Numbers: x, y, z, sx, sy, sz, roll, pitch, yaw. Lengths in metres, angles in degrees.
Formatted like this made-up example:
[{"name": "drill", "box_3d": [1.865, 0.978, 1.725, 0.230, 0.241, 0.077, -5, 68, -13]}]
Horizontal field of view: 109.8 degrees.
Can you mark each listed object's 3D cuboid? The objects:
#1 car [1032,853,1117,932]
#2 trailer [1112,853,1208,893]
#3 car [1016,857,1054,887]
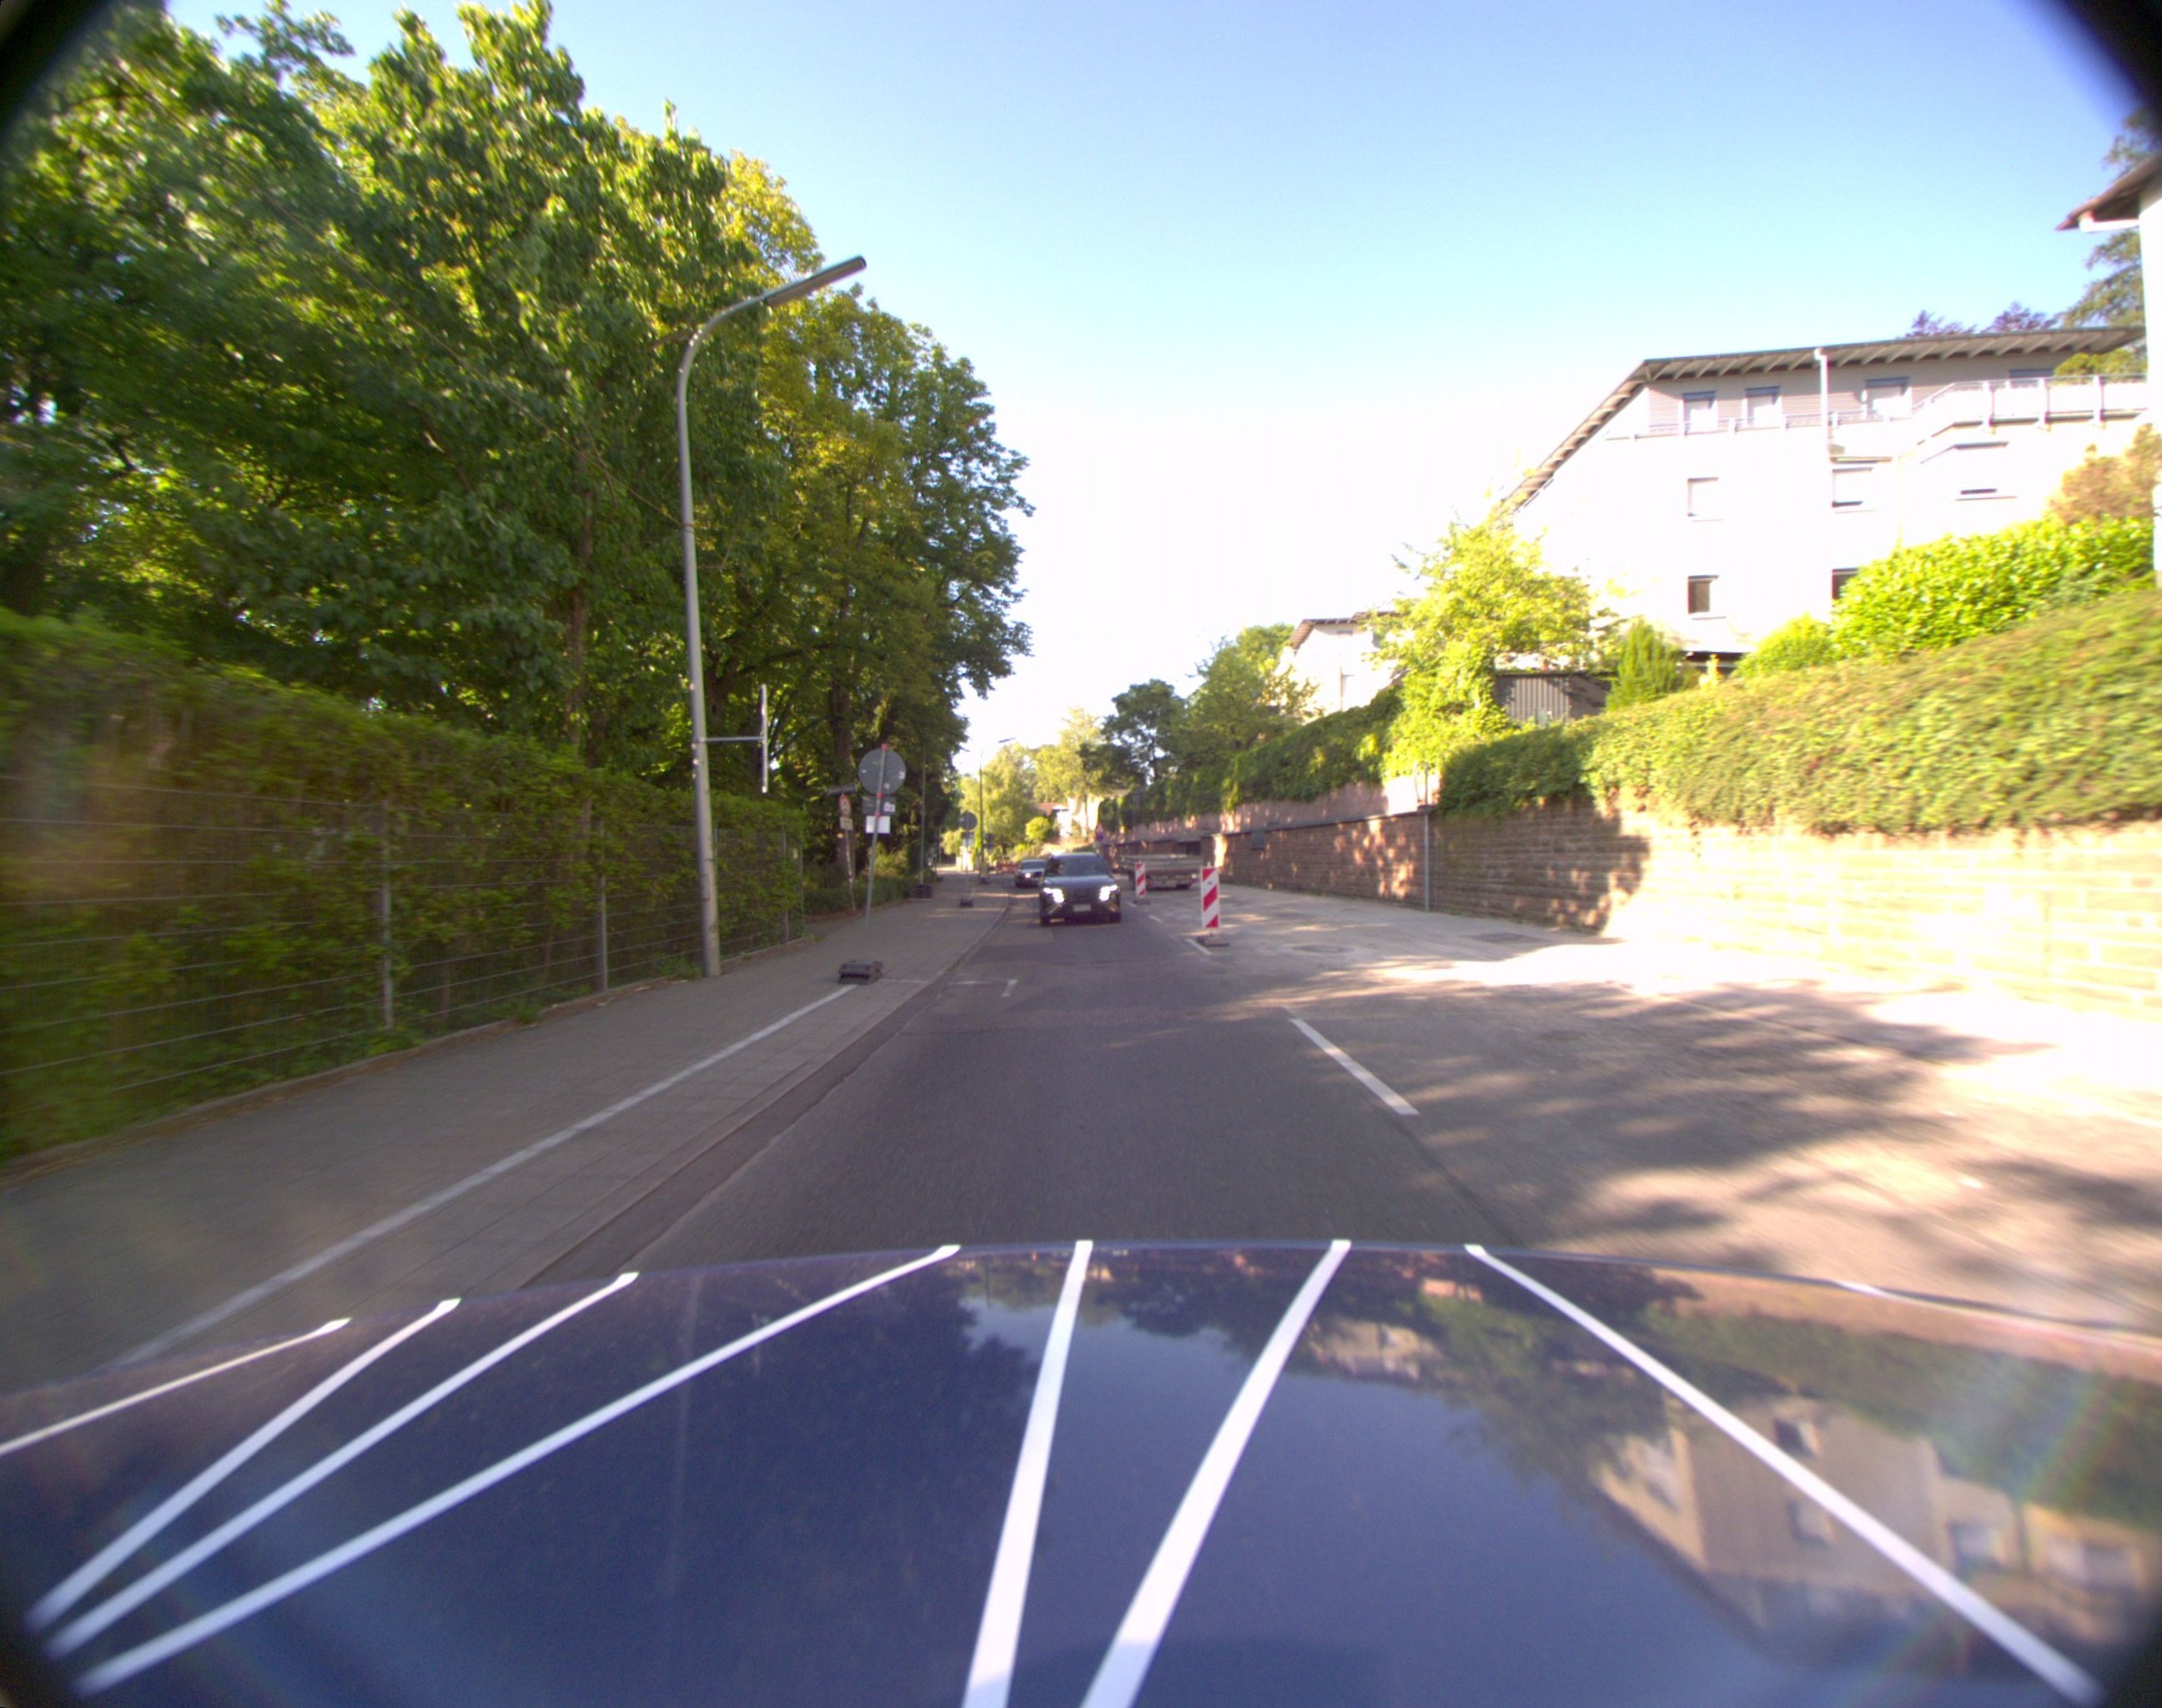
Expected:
[{"name": "car", "box_3d": [-0.081, 0.834, 18.828, 1.788, 1.639, 4.474, -2, 0, 2]}, {"name": "trailer", "box_3d": [3.276, 0.751, 33.597, 2.648, 1.481, 7.113, -2, 0, -7]}, {"name": "car", "box_3d": [-2.461, 0.910, 40.053, 1.663, 1.468, 3.680, -2, 1, -7]}]
